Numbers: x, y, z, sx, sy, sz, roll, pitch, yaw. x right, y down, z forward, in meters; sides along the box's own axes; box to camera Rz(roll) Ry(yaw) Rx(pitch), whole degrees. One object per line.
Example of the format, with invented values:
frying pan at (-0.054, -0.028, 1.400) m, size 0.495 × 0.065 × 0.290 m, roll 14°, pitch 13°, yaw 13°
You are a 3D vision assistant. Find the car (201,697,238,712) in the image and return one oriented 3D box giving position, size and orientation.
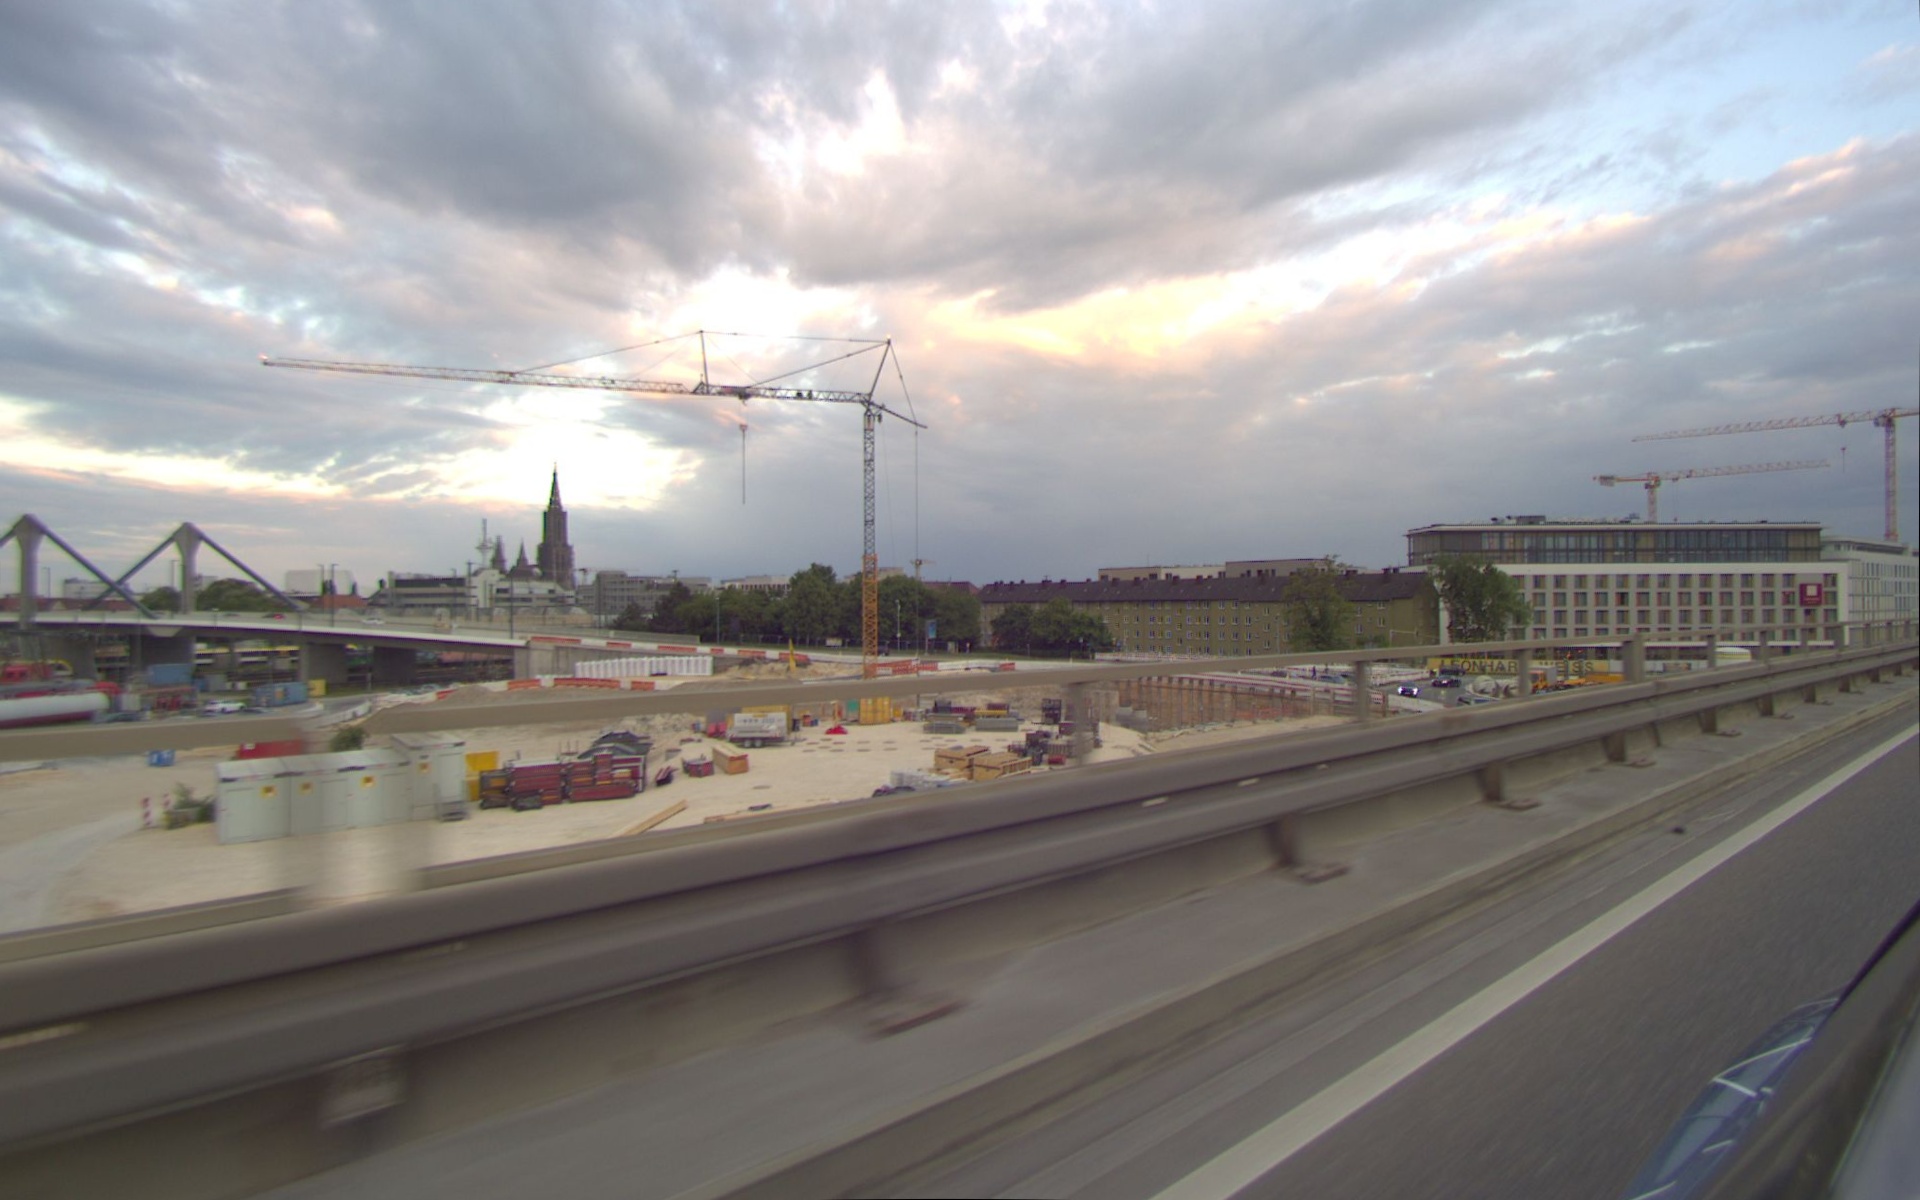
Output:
car at (-87.373, 12.372, 119.516) m, size 1.414 × 1.597 × 3.674 m, roll -5°, pitch -5°, yaw 7°

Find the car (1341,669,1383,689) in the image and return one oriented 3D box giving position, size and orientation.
car at (44.112, 8.696, 111.100) m, size 1.767 × 1.741 × 4.107 m, roll -2°, pitch 1°, yaw -28°

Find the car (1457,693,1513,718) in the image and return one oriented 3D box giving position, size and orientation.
car at (42.842, 8.586, 82.748) m, size 1.963 × 1.903 × 5.085 m, roll 0°, pitch -5°, yaw 1°

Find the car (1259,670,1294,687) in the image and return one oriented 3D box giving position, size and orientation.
car at (35.980, 8.892, 115.182) m, size 1.616 × 1.639 × 3.771 m, roll 0°, pitch 0°, yaw -29°

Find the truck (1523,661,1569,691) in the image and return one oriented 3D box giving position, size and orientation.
truck at (62.726, 8.093, 108.252) m, size 7.213 × 2.987 × 2.158 m, roll 1°, pitch -4°, yaw -44°

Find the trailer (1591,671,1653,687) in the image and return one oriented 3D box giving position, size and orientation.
trailer at (74.459, 8.851, 113.873) m, size 5.831 × 1.365 × 2.003 m, roll 0°, pitch 0°, yaw 34°

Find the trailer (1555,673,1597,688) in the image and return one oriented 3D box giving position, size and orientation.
trailer at (68.672, 8.933, 112.823) m, size 5.765 × 1.366 × 1.997 m, roll 1°, pitch -6°, yaw -38°

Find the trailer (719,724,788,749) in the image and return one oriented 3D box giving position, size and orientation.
trailer at (-12.835, 8.481, 62.934) m, size 4.163 × 1.257 × 1.787 m, roll 0°, pitch -2°, yaw -13°

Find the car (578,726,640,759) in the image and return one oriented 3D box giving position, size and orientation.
car at (-24.793, 10.018, 71.502) m, size 3.917 × 1.948 × 1.687 m, roll -3°, pitch -5°, yaw -12°

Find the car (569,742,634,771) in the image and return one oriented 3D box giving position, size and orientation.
car at (-22.775, 9.920, 64.414) m, size 3.718 × 1.461 × 1.530 m, roll -3°, pitch -5°, yaw -12°

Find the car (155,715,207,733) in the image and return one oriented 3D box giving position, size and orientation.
car at (-78.131, 12.452, 101.567) m, size 4.278 × 1.540 × 1.864 m, roll -2°, pitch -1°, yaw 13°

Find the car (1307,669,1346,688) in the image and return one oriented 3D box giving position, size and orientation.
car at (38.941, 8.295, 107.646) m, size 1.611 × 1.761 × 3.800 m, roll 0°, pitch -1°, yaw -25°

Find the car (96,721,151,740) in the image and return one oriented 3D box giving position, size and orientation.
car at (-80.113, 12.512, 96.897) m, size 4.278 × 1.540 × 1.864 m, roll -2°, pitch -1°, yaw 13°

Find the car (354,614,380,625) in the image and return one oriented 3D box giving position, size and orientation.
car at (-104.087, 3.476, 177.657) m, size 3.651 × 1.762 × 1.587 m, roll 2°, pitch -4°, yaw 14°
